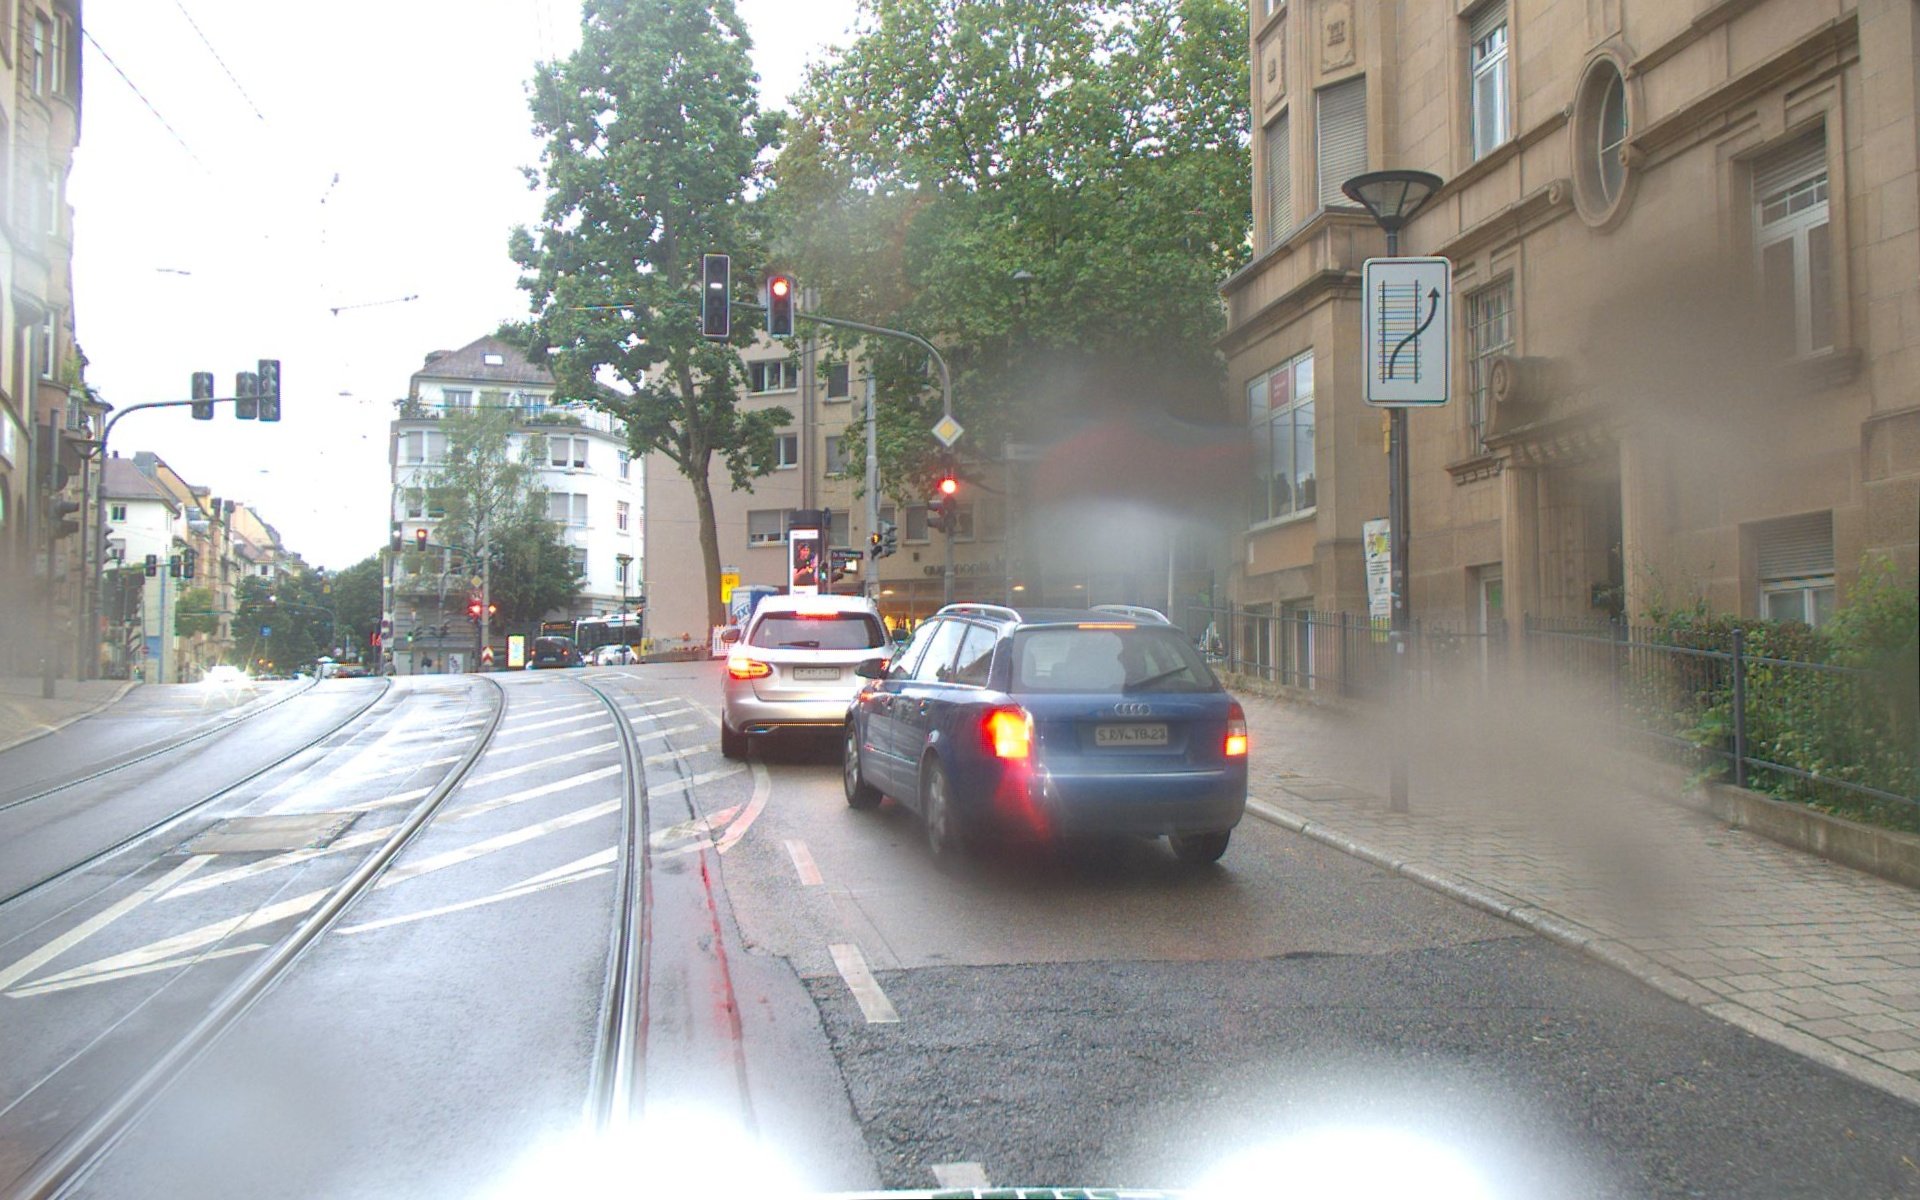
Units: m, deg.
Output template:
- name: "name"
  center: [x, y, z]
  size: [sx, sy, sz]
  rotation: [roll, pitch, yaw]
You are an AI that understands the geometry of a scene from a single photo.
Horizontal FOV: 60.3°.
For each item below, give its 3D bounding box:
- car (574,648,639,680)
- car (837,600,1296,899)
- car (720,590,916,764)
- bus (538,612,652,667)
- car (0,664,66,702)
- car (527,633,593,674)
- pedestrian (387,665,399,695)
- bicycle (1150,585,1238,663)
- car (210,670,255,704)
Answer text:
- name: "car"
  center: [-19.581, 3.534, 91.779]
  size: [1.757, 1.536, 4.002]
  rotation: [-1, 0, 19]
- name: "car"
  center: [0.430, 0.750, 10.379]
  size: [1.682, 1.440, 4.020]
  rotation: [1, 0, -15]
- name: "car"
  center: [-1.410, 0.662, 16.096]
  size: [1.677, 1.481, 3.548]
  rotation: [1, 0, -6]
- name: "bus"
  center: [-21.495, 2.267, 97.987]
  size: [2.794, 2.911, 8.740]
  rotation: [-1, 0, 15]
- name: "car"
  center: [-42.868, 3.778, 75.099]
  size: [3.939, 1.537, 1.785]
  rotation: [0, 0, -27]
- name: "car"
  center: [-17.197, 2.271, 71.271]
  size: [1.758, 1.536, 4.000]
  rotation: [-3, 0, 0]
- name: "pedestrian"
  center: [-33.069, 4.663, 96.530]
  size: [0.638, 1.690, 0.646]
  rotation: [1, 0, -19]
- name: "bicycle"
  center: [3.793, 0.383, 26.835]
  size: [1.277, 1.194, 0.525]
  rotation: [-3, 0, -11]
- name: "car"
  center: [-38.430, 4.558, 87.307]
  size: [1.774, 1.537, 4.621]
  rotation: [-1, 0, -28]
